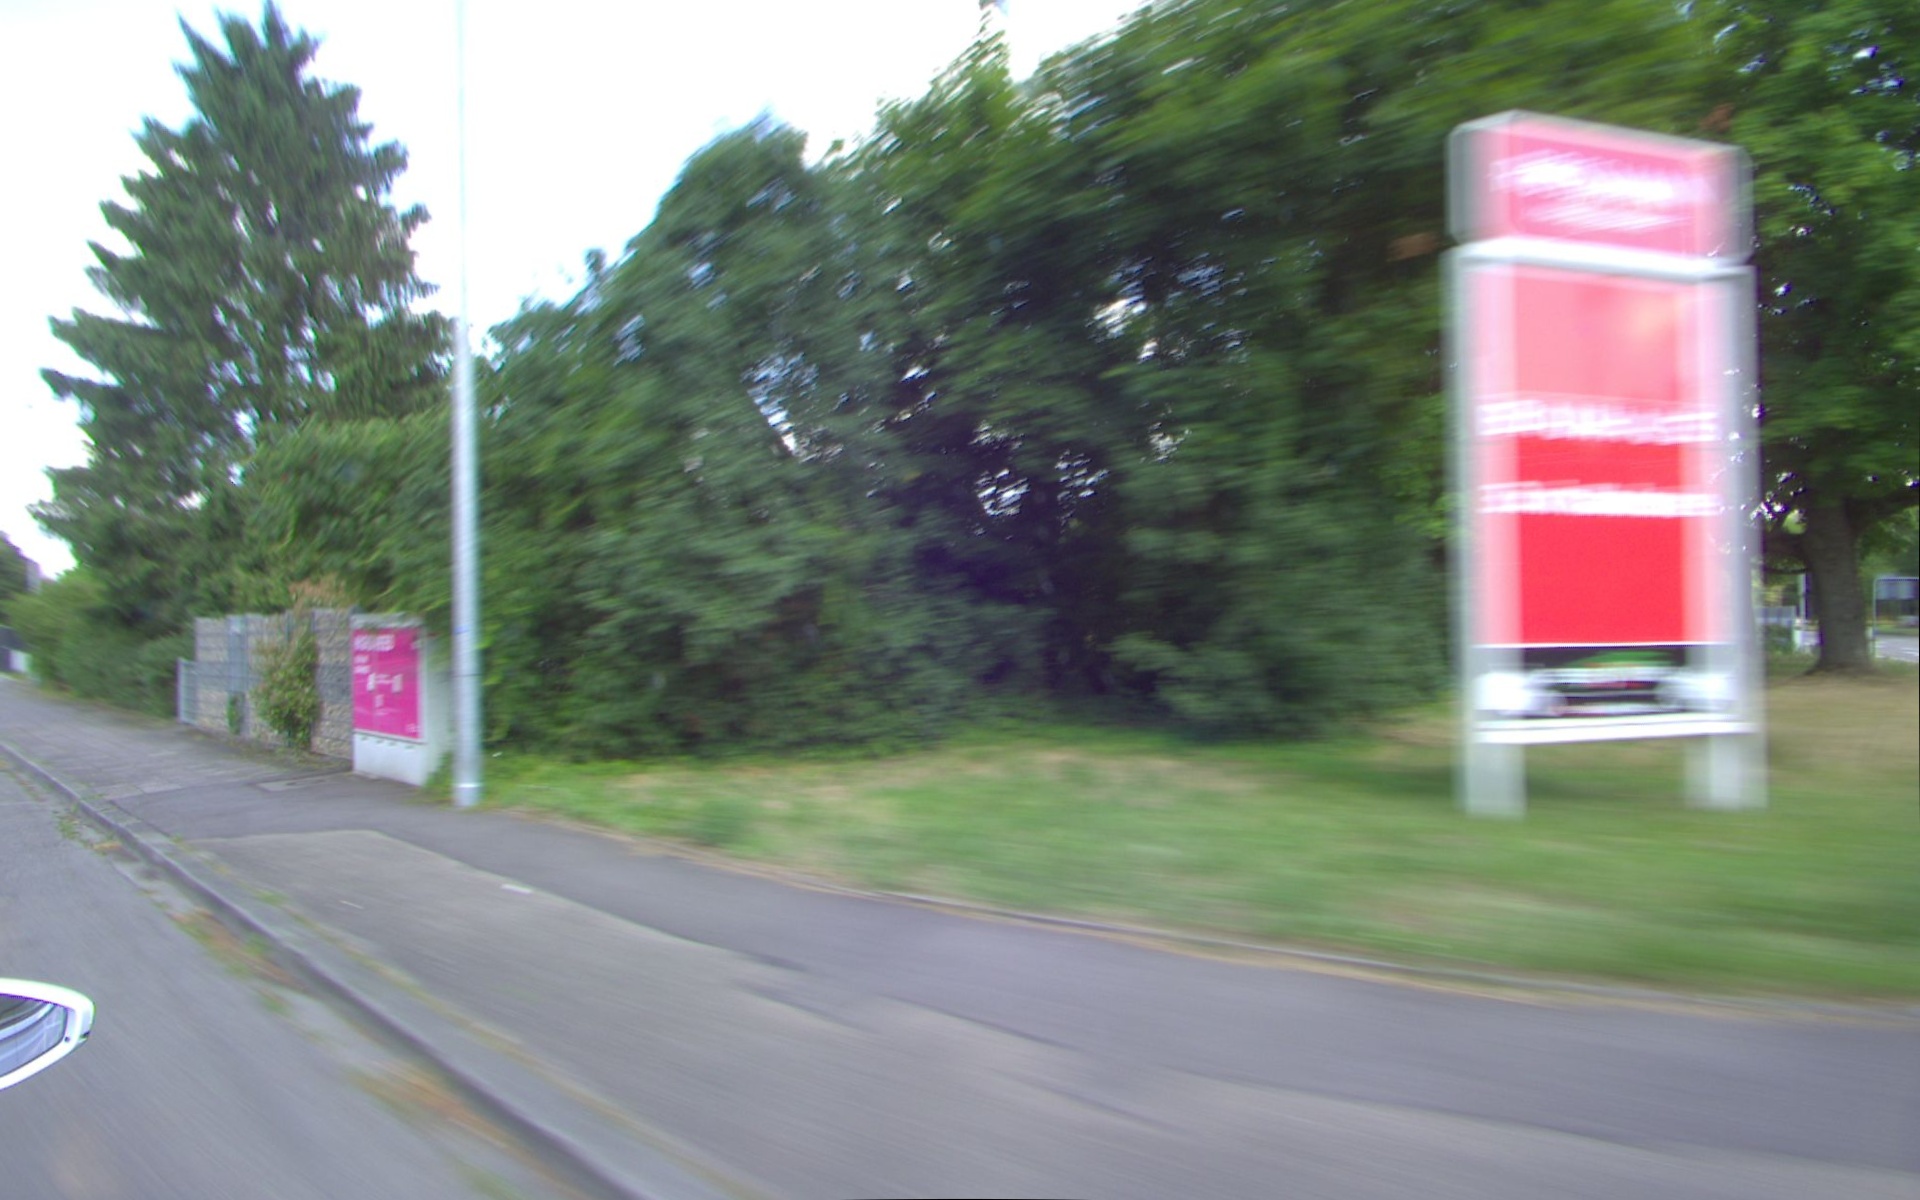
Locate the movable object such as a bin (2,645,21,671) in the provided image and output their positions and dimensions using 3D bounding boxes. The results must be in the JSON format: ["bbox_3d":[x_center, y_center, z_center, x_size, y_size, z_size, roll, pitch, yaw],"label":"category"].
[{"bbox_3d":[-38.802,2.379,40.970,0.623,1.052,0.513,-2,-1,43],"label":"movable object such as a bin"}]

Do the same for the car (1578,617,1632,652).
[{"bbox_3d":[30.738,1.632,47.684,1.662,1.550,4.360,-2,-2,39],"label":"car"}]

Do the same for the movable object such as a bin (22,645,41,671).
[{"bbox_3d":[-38.406,2.392,41.422,0.623,1.052,0.513,-2,-1,43],"label":"movable object such as a bin"}]

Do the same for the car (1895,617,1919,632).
[{"bbox_3d":[94.033,2.401,98.750,1.508,1.477,4.191,-1,-1,27],"label":"car"}]
